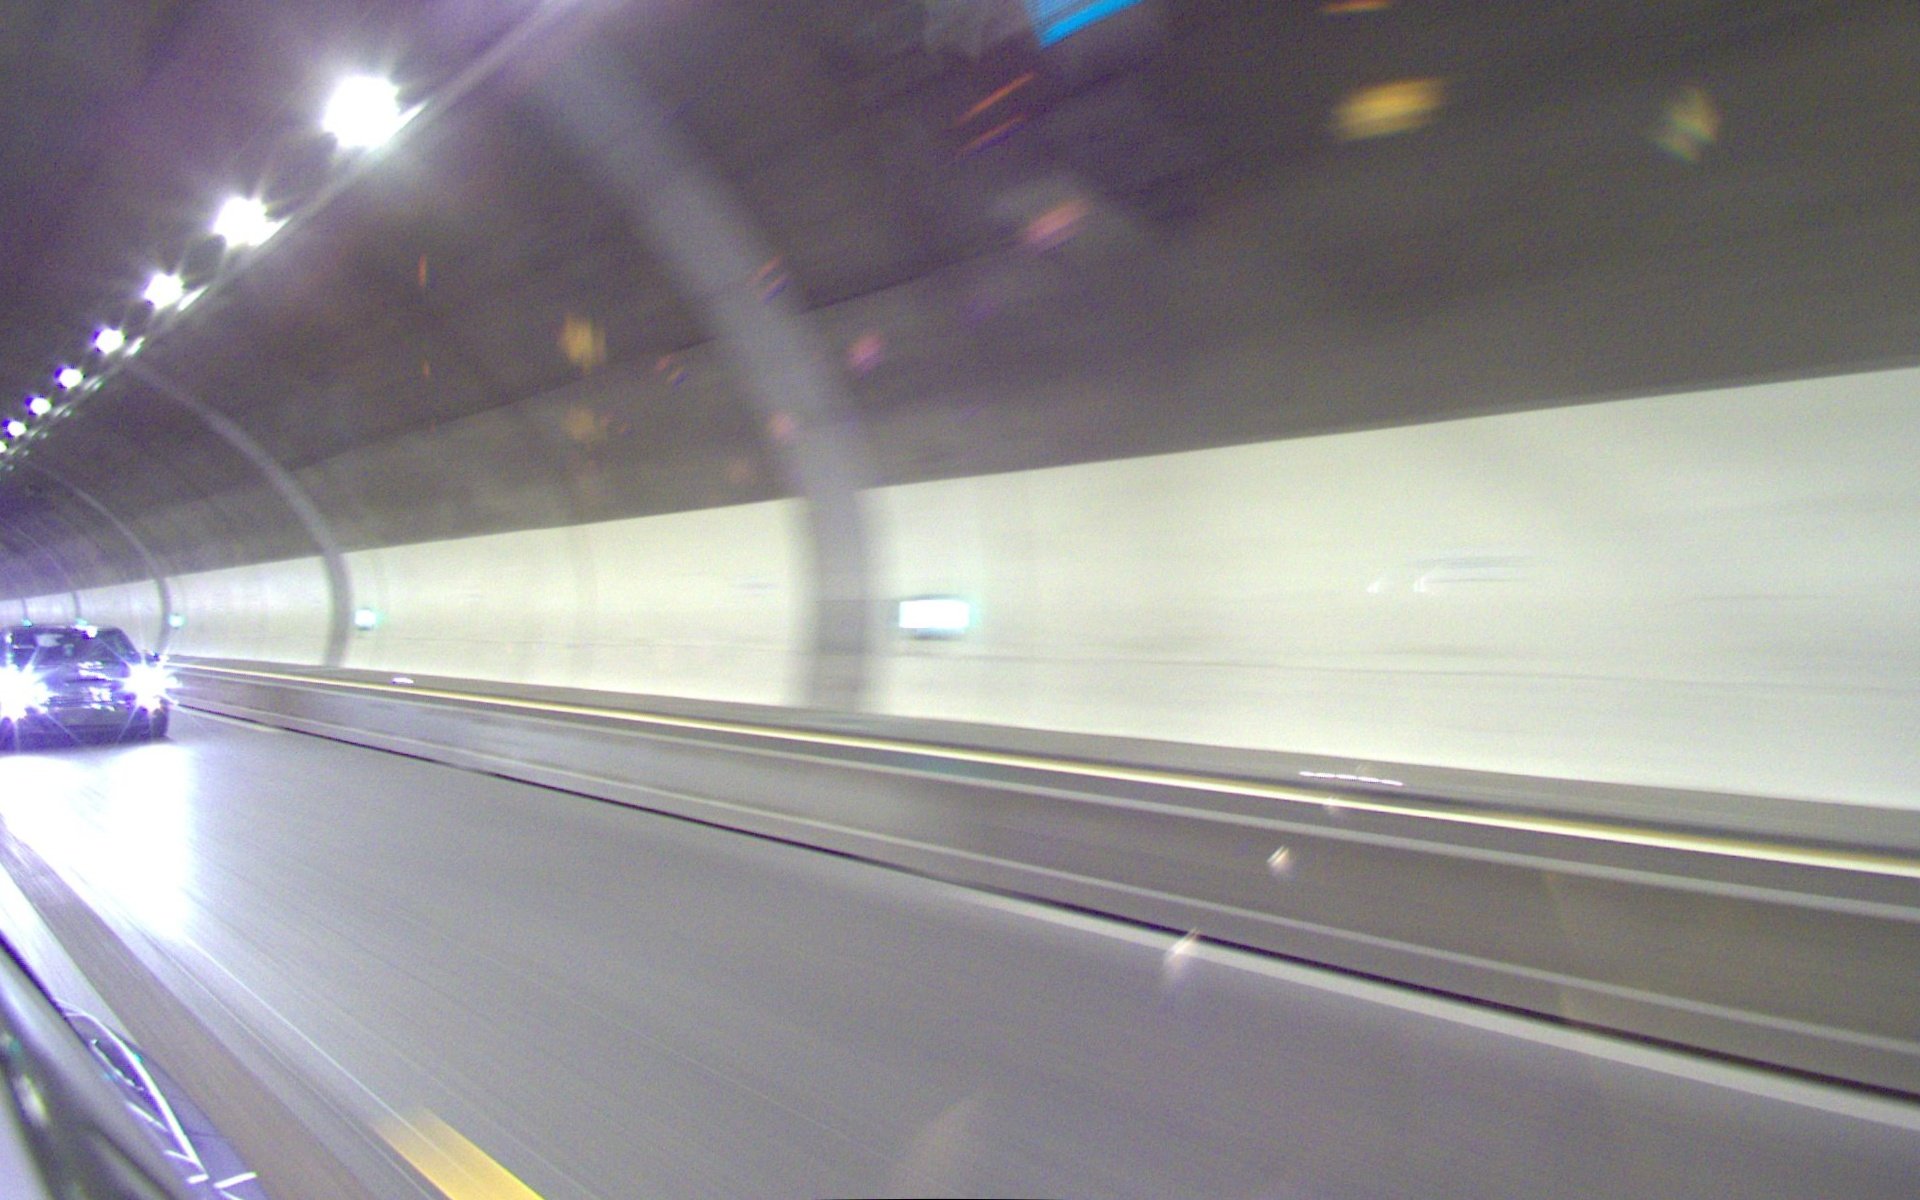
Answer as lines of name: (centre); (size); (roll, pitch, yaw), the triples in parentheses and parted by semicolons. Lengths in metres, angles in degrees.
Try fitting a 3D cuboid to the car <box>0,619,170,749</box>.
car: (-11.426, 0.951, 12.773); (3.655, 1.414, 1.635); (-1, -1, 41)
